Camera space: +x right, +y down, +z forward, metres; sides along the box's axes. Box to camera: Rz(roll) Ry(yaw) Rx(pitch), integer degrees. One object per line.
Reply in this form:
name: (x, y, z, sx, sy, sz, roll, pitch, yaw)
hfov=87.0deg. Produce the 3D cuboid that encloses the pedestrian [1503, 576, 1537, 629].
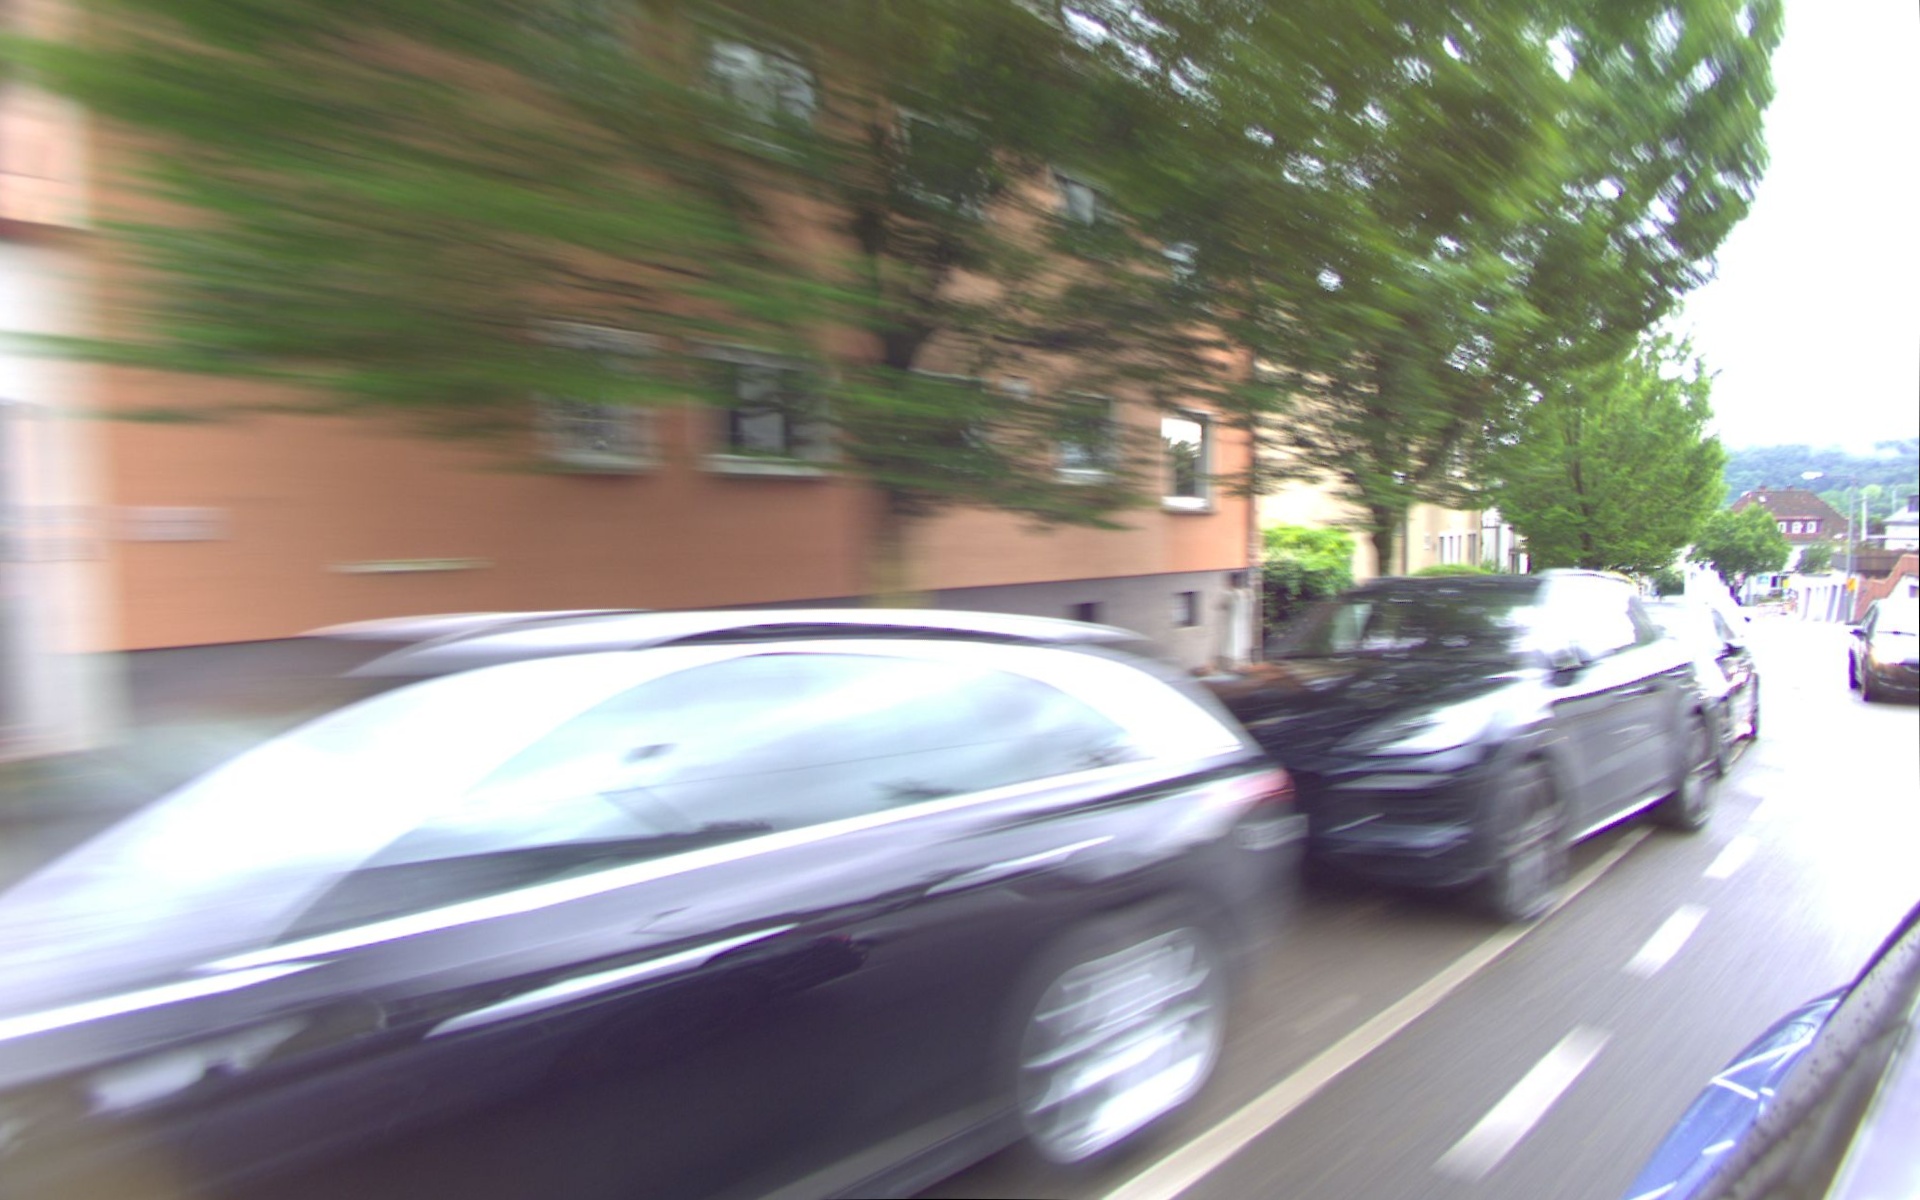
pedestrian: (19.024, 0.079, 34.364, 0.830, 1.706, 1.032, 5, 2, 35)

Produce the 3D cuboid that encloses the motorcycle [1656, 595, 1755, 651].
motorcycle: (18.421, 0.552, 25.069, 1.904, 1.347, 0.778, 0, -1, 32)

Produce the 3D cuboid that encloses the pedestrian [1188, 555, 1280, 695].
pedestrian: (3.629, 0.304, 13.397, 0.760, 1.741, 0.889, 5, 3, 42)

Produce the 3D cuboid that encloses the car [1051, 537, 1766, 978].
car: (3.105, 0.564, 6.309, 5.143, 1.677, 2.058, 0, 1, -41)

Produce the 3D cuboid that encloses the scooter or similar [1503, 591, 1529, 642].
scooter or similar: (14.057, 0.405, 25.589, 0.412, 1.260, 1.159, 2, 1, 36)

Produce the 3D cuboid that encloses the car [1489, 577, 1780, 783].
car: (7.088, 0.598, 10.384, 1.853, 1.601, 4.785, 2, 1, 41)

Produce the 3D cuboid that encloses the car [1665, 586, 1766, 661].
car: (16.689, 0.470, 22.387, 1.652, 1.508, 3.947, 0, 0, 37)

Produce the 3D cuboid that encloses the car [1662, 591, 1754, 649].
car: (20.359, 0.492, 27.640, 1.873, 1.434, 4.410, 1, 1, 36)

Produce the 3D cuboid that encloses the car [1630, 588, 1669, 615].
car: (42.248, 0.091, 62.059, 1.721, 1.628, 4.073, -1, 0, 31)

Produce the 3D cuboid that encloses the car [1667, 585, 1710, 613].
car: (52.312, -0.115, 72.714, 1.999, 1.927, 4.053, 1, 1, 29)

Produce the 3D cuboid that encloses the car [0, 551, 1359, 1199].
car: (-1.132, 0.699, 2.325, 4.971, 1.488, 1.863, 0, -1, -43)

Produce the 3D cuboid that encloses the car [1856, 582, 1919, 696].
car: (14.638, 0.533, 15.002, 1.885, 1.549, 3.998, 1, 1, 40)
